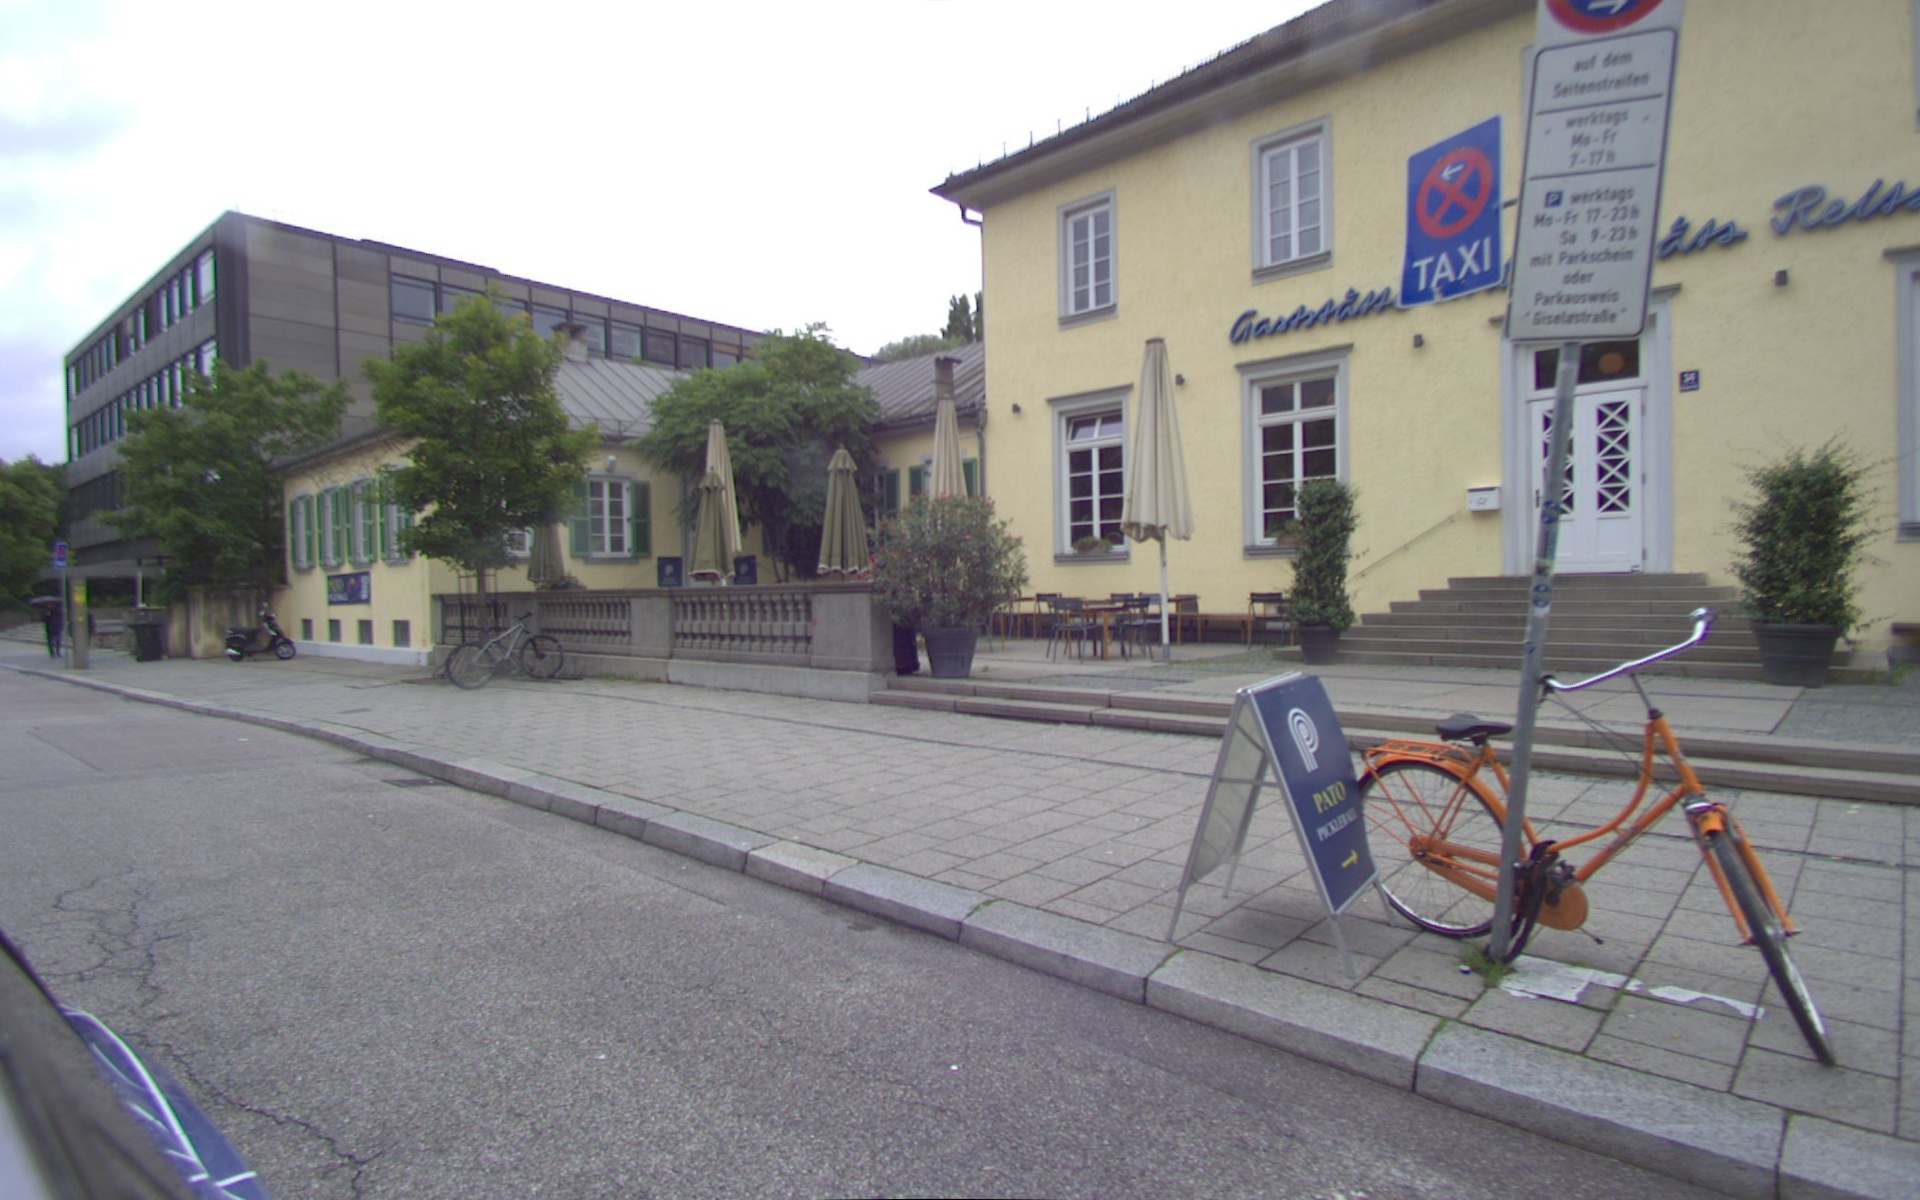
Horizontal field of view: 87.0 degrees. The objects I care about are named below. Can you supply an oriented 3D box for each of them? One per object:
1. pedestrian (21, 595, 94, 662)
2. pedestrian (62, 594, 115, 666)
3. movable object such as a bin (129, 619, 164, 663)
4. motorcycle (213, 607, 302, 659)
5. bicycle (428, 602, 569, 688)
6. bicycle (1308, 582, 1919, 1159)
[{"bbox_3d":[-28.723,0.879,32.213,1.499,2.028,1.461,-1,2,40],"label":"pedestrian"},{"bbox_3d":[-25.557,0.850,29.670,0.913,2.028,0.965,-1,2,40],"label":"pedestrian"},{"bbox_3d":[-21.702,1.087,26.996,0.459,1.117,0.607,-1,2,40],"label":"movable object such as a bin"},{"bbox_3d":[-17.141,0.801,24.712,1.642,1.120,0.591,-3,3,-6],"label":"motorcycle"},{"bbox_3d":[-6.978,0.655,15.388,0.466,1.042,1.823,-1,5,43],"label":"bicycle"},{"bbox_3d":[2.115,0.652,3.276,0.769,1.379,1.699,-2,1,-39],"label":"bicycle"}]
